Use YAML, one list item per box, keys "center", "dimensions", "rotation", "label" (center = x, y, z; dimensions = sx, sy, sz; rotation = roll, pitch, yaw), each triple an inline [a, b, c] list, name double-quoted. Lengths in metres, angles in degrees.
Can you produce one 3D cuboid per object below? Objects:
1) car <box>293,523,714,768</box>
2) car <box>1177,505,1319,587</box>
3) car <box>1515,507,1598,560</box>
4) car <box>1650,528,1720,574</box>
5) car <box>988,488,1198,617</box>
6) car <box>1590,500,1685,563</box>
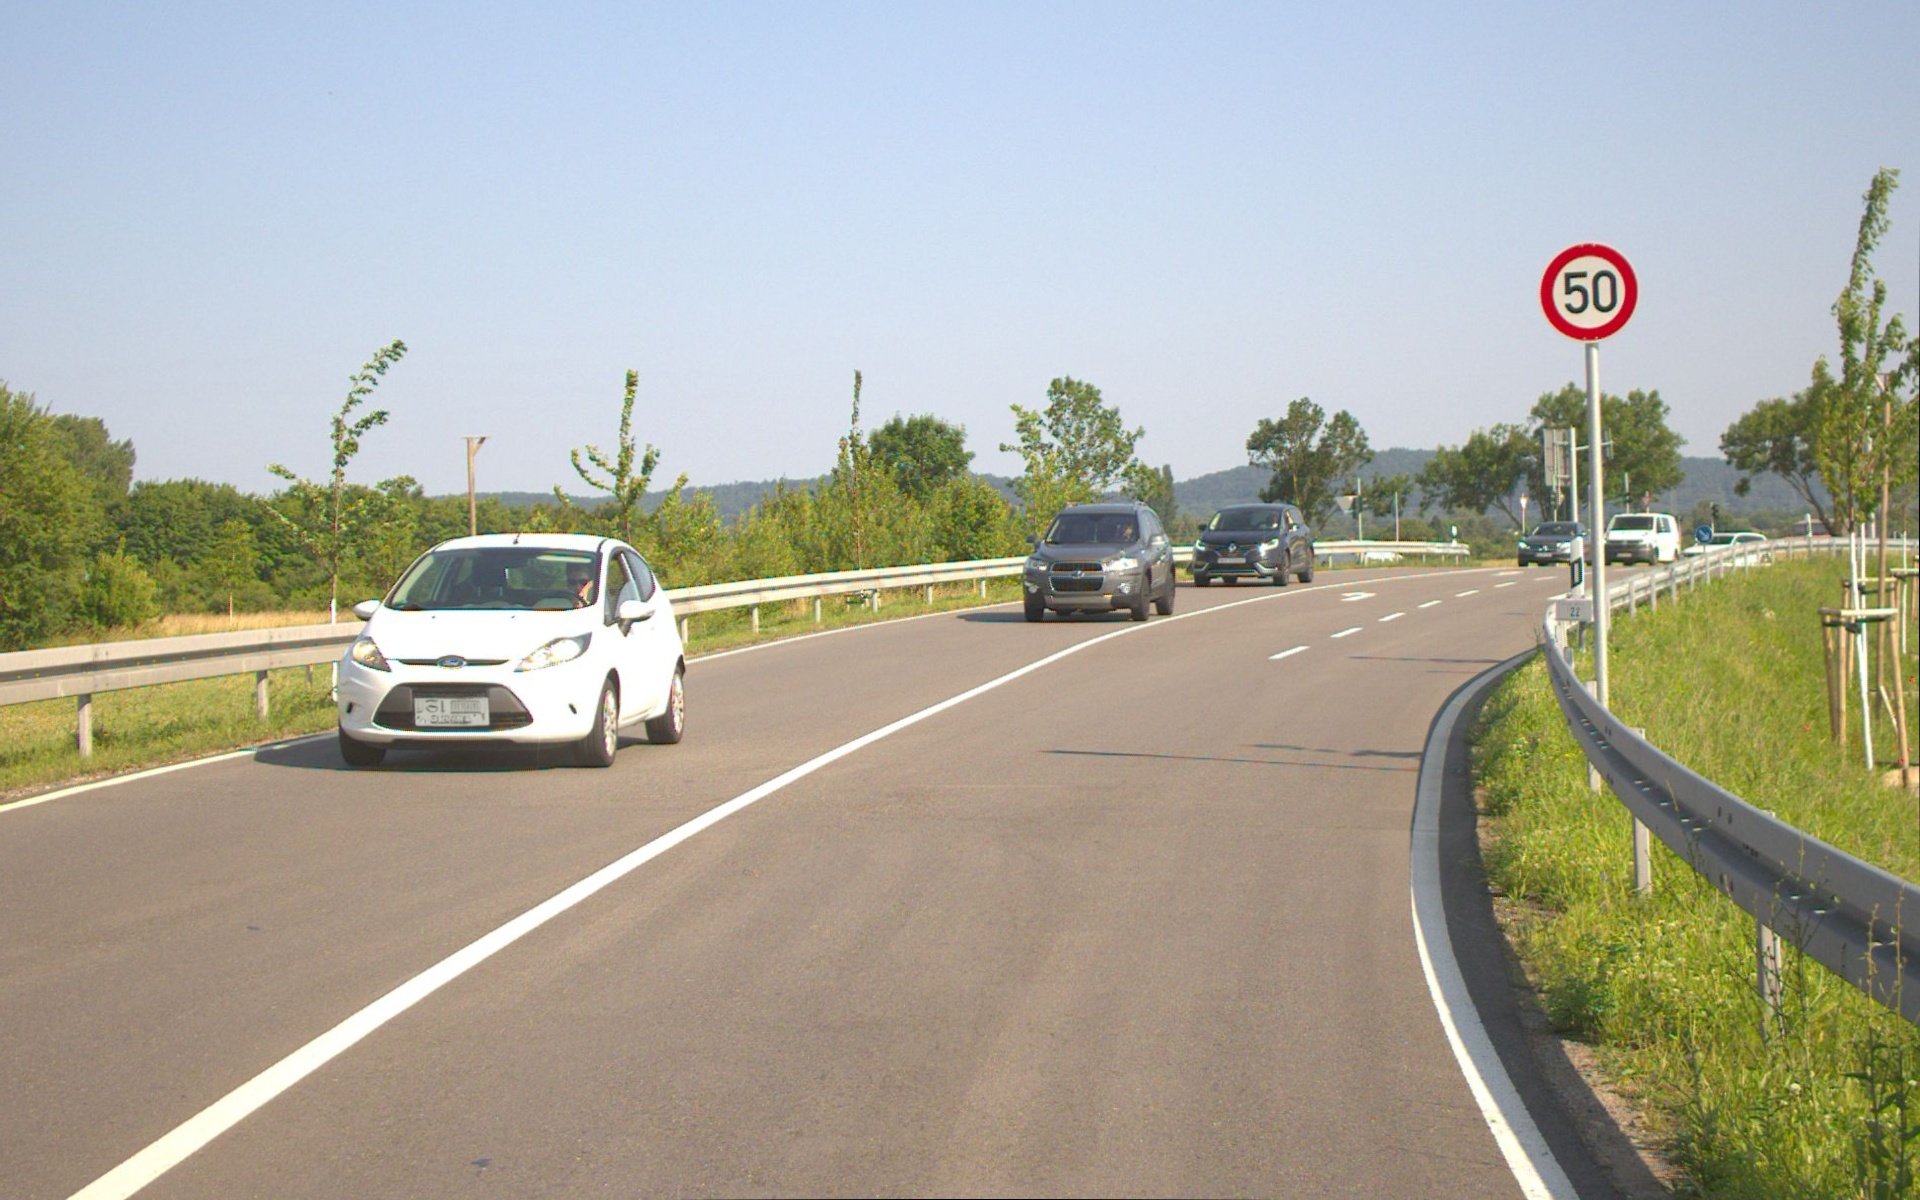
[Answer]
- center: [-2.888, 0.250, 22.656]
  dimensions: [1.853, 1.444, 4.153]
  rotation: [1, 1, 6]
  label: "car"
- center: [5.973, -1.150, 70.808]
  dimensions: [1.995, 1.587, 4.860]
  rotation: [1, 2, 16]
  label: "car"
- center: [18.896, -2.127, 108.843]
  dimensions: [1.796, 1.443, 4.702]
  rotation: [1, 4, 20]
  label: "car"
- center: [27.639, -1.896, 130.949]
  dimensions: [2.116, 1.488, 5.149]
  rotation: [1, 4, 17]
  label: "car"
- center: [2.064, -0.675, 51.686]
  dimensions: [1.884, 1.792, 5.087]
  rotation: [0, -1, 17]
  label: "car"
- center: [24.043, -2.453, 121.788]
  dimensions: [2.118, 2.006, 5.147]
  rotation: [1, 4, 25]
  label: "car"
